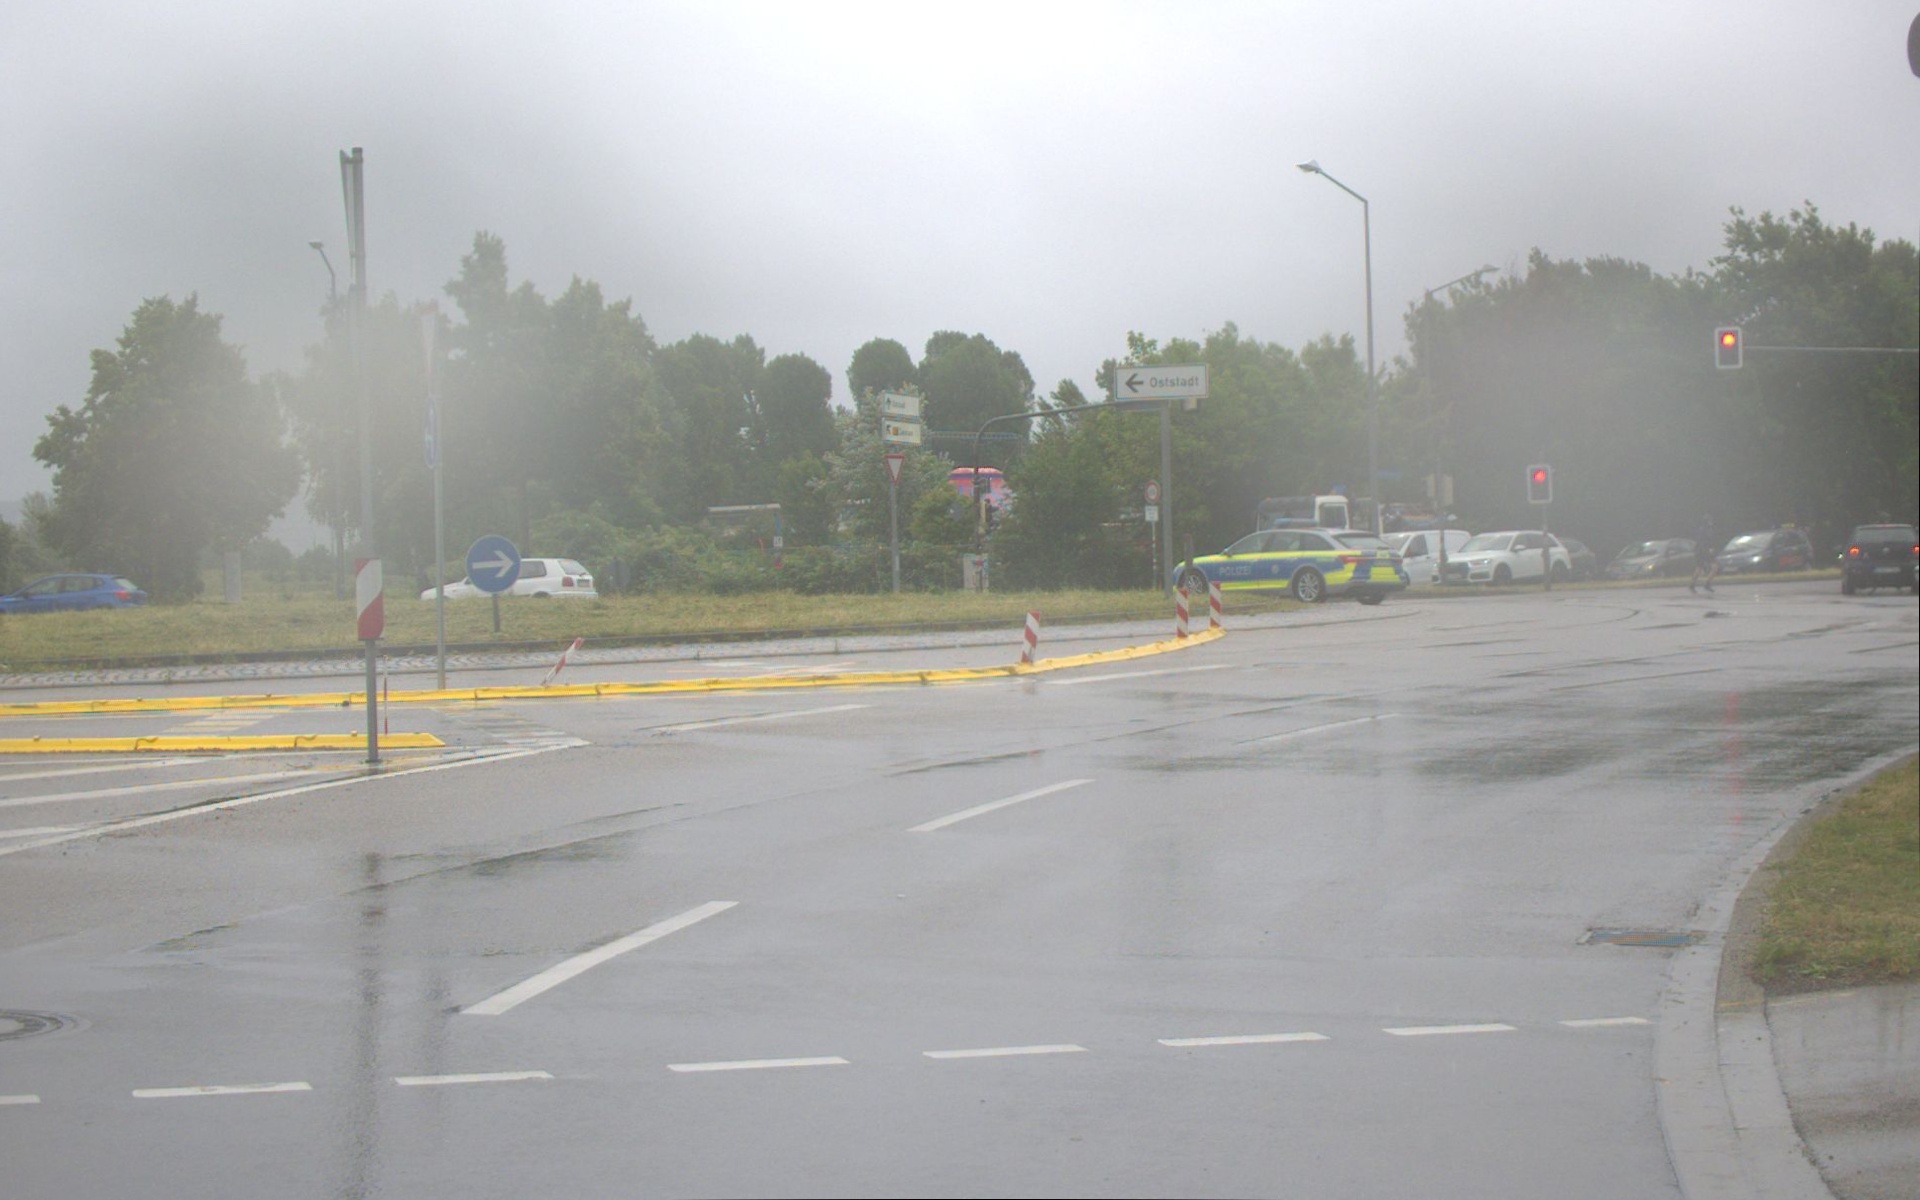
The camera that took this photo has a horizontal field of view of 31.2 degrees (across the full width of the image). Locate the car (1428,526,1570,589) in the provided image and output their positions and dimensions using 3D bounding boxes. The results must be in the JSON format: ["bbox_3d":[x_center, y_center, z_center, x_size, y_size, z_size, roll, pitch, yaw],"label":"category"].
[{"bbox_3d":[14.852,-1.158,94.586,1.800,1.656,4.399,1,0,41],"label":"car"}]

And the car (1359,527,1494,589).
[{"bbox_3d":[13.215,-1.185,97.266,1.800,1.656,4.124,1,0,41],"label":"car"}]

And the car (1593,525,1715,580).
[{"bbox_3d":[21.914,-1.514,108.445,1.800,1.656,4.399,-1,1,41],"label":"car"}]

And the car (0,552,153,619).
[{"bbox_3d":[-20.882,-0.334,79.574,3.974,1.449,1.623,-1,1,2],"label":"car"}]

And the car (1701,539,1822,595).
[{"bbox_3d":[24.802,-1.003,106.305,1.800,1.656,4.399,1,0,41],"label":"car"}]

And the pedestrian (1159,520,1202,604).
[{"bbox_3d":[3.488,-0.600,54.342,0.453,1.300,0.485,-1,1,38],"label":"pedestrian"}]

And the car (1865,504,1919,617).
[{"bbox_3d":[17.473,-0.622,56.177,4.770,1.845,1.996,1,0,37],"label":"car"}]

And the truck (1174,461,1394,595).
[{"bbox_3d":[7.134,-1.499,74.605,2.464,2.677,8.049,1,0,23],"label":"truck"}]

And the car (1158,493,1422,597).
[{"bbox_3d":[6.133,-1.014,64.323,1.995,1.845,4.773,-2,1,-43],"label":"car"}]

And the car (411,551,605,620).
[{"bbox_3d":[-10.100,-0.327,76.893,3.976,1.449,1.623,-1,1,11],"label":"car"}]

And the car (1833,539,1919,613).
[{"bbox_3d":[18.994,-0.507,71.083,1.619,1.449,3.986,-1,1,12],"label":"car"}]
